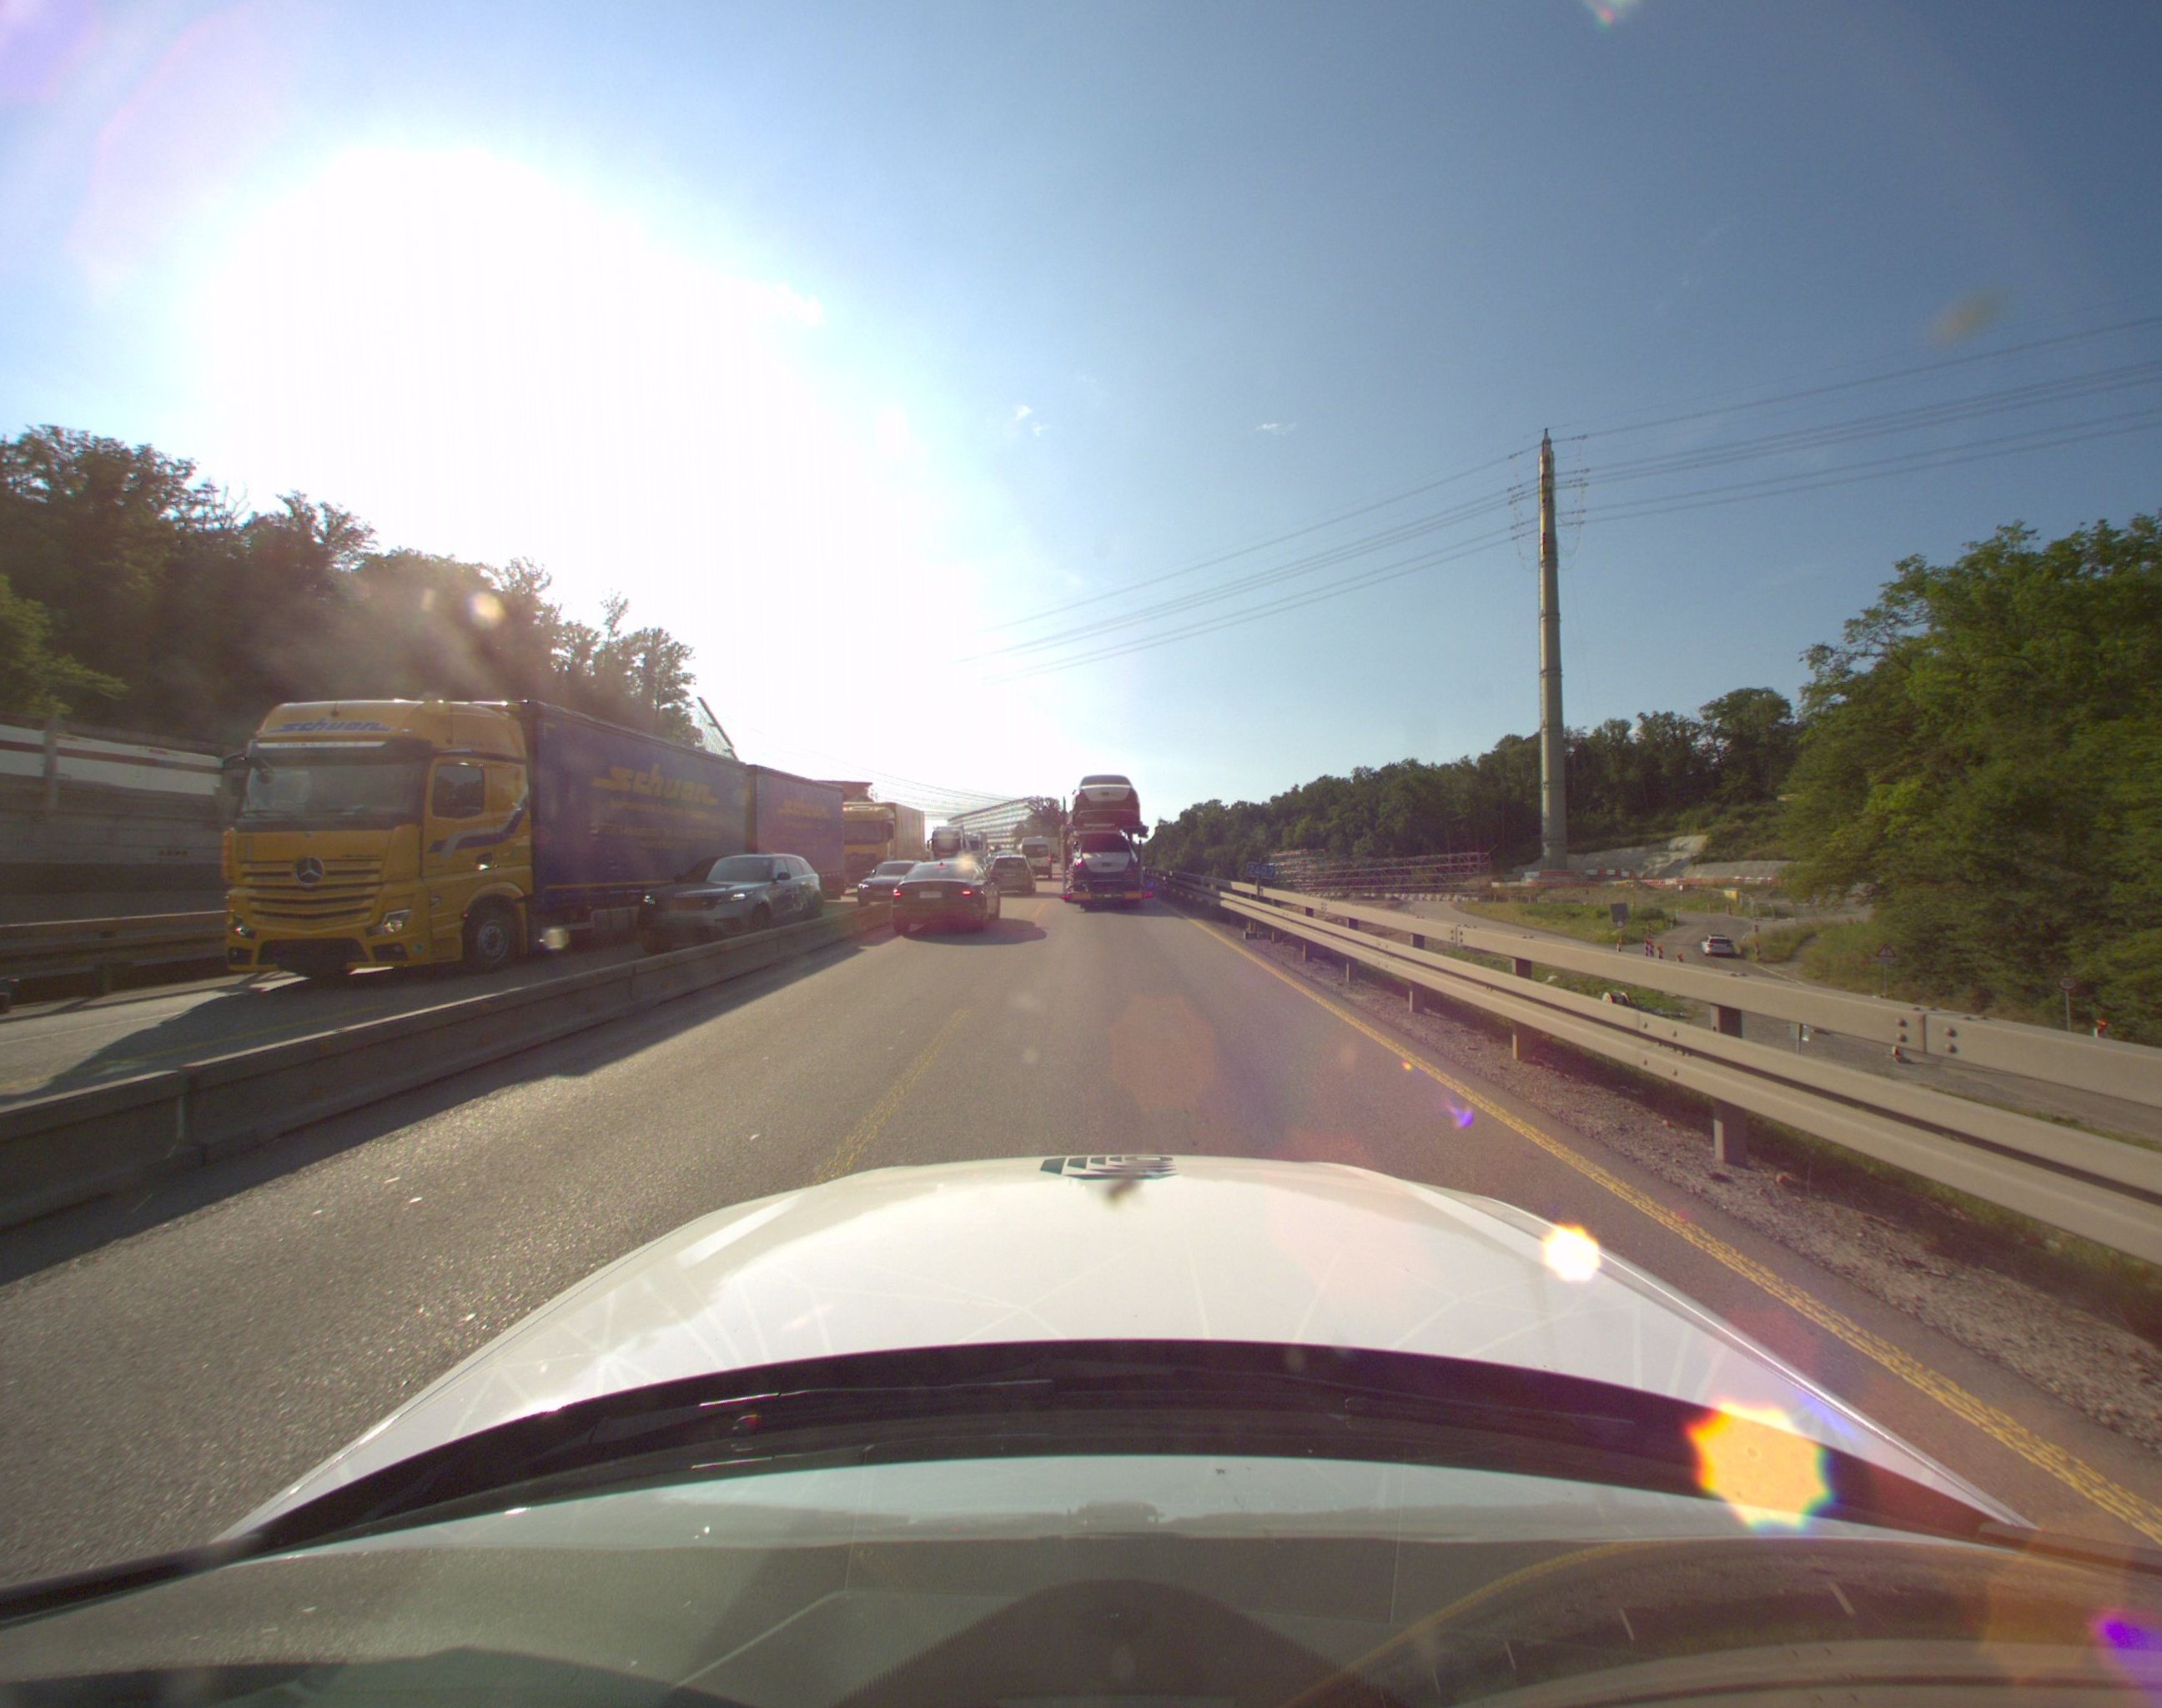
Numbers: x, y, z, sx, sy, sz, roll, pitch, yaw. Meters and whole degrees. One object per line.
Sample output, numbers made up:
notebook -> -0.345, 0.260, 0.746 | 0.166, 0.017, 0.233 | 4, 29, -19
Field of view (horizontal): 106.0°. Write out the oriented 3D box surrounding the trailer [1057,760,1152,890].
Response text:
trailer -> 0.613, -0.777, 33.081 | 2.866, 3.994, 15.270 | -2, -1, -1

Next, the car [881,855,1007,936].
car -> -2.878, 0.824, 18.289 | 1.934, 1.480, 5.220 | -2, -1, 0

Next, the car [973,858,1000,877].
car -> -7.755, 1.124, 67.232 | 1.735, 1.402, 4.899 | -2, -1, -1

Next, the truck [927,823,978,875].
truck -> -10.657, -0.241, 68.816 | 2.803, 3.970, 13.876 | 0, -1, -3

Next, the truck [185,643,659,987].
truck -> -9.568, -0.440, 12.855 | 2.692, 4.141, 5.793 | -2, -1, 0

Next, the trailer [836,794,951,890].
trailer -> -9.611, -0.379, 44.192 | 2.693, 4.204, 15.988 | -2, -1, -1

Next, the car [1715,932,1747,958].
car -> 47.647, 6.622, 59.666 | 1.511, 1.461, 4.294 | -3, -1, 42

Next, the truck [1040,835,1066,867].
truck -> -4.267, -0.524, 125.970 | 3.638, 4.677, 11.689 | -1, 0, -1

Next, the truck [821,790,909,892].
truck -> -9.491, -0.523, 36.232 | 2.686, 4.197, 4.395 | -2, -1, -2

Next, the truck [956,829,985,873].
truck -> -11.485, -0.244, 84.965 | 2.439, 4.272, 6.312 | -2, -1, -4

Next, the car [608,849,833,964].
car -> -6.213, 0.840, 14.768 | 1.920, 1.701, 4.691 | -2, -1, 0

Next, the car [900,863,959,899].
car -> -6.735, 1.172, 36.711 | 1.792, 1.453, 4.613 | -2, -1, -1

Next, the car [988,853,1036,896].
car -> -2.737, 0.808, 32.939 | 1.696, 1.587, 4.143 | -2, -1, -2

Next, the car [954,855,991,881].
car -> -6.709, 0.873, 50.813 | 1.711, 1.508, 4.290 | -2, -1, 0

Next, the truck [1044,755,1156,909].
truck -> 0.621, -0.538, 24.404 | 2.858, 3.980, 5.774 | -2, -1, 2

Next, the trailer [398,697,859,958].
trailer -> -9.561, -0.283, 21.471 | 2.706, 4.135, 16.749 | -2, -1, 0

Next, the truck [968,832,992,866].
truck -> -13.247, -0.550, 107.150 | 2.890, 4.272, 5.759 | -1, -1, -6

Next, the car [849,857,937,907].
car -> -6.191, 0.908, 27.368 | 1.782, 1.497, 4.724 | -2, -1, 0

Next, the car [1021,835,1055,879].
car -> -2.678, 0.215, 51.843 | 1.974, 2.684, 4.143 | -2, -1, -2

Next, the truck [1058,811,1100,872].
truck -> -0.277, -1.025, 69.468 | 3.219, 4.677, 11.689 | -1, 0, -1
